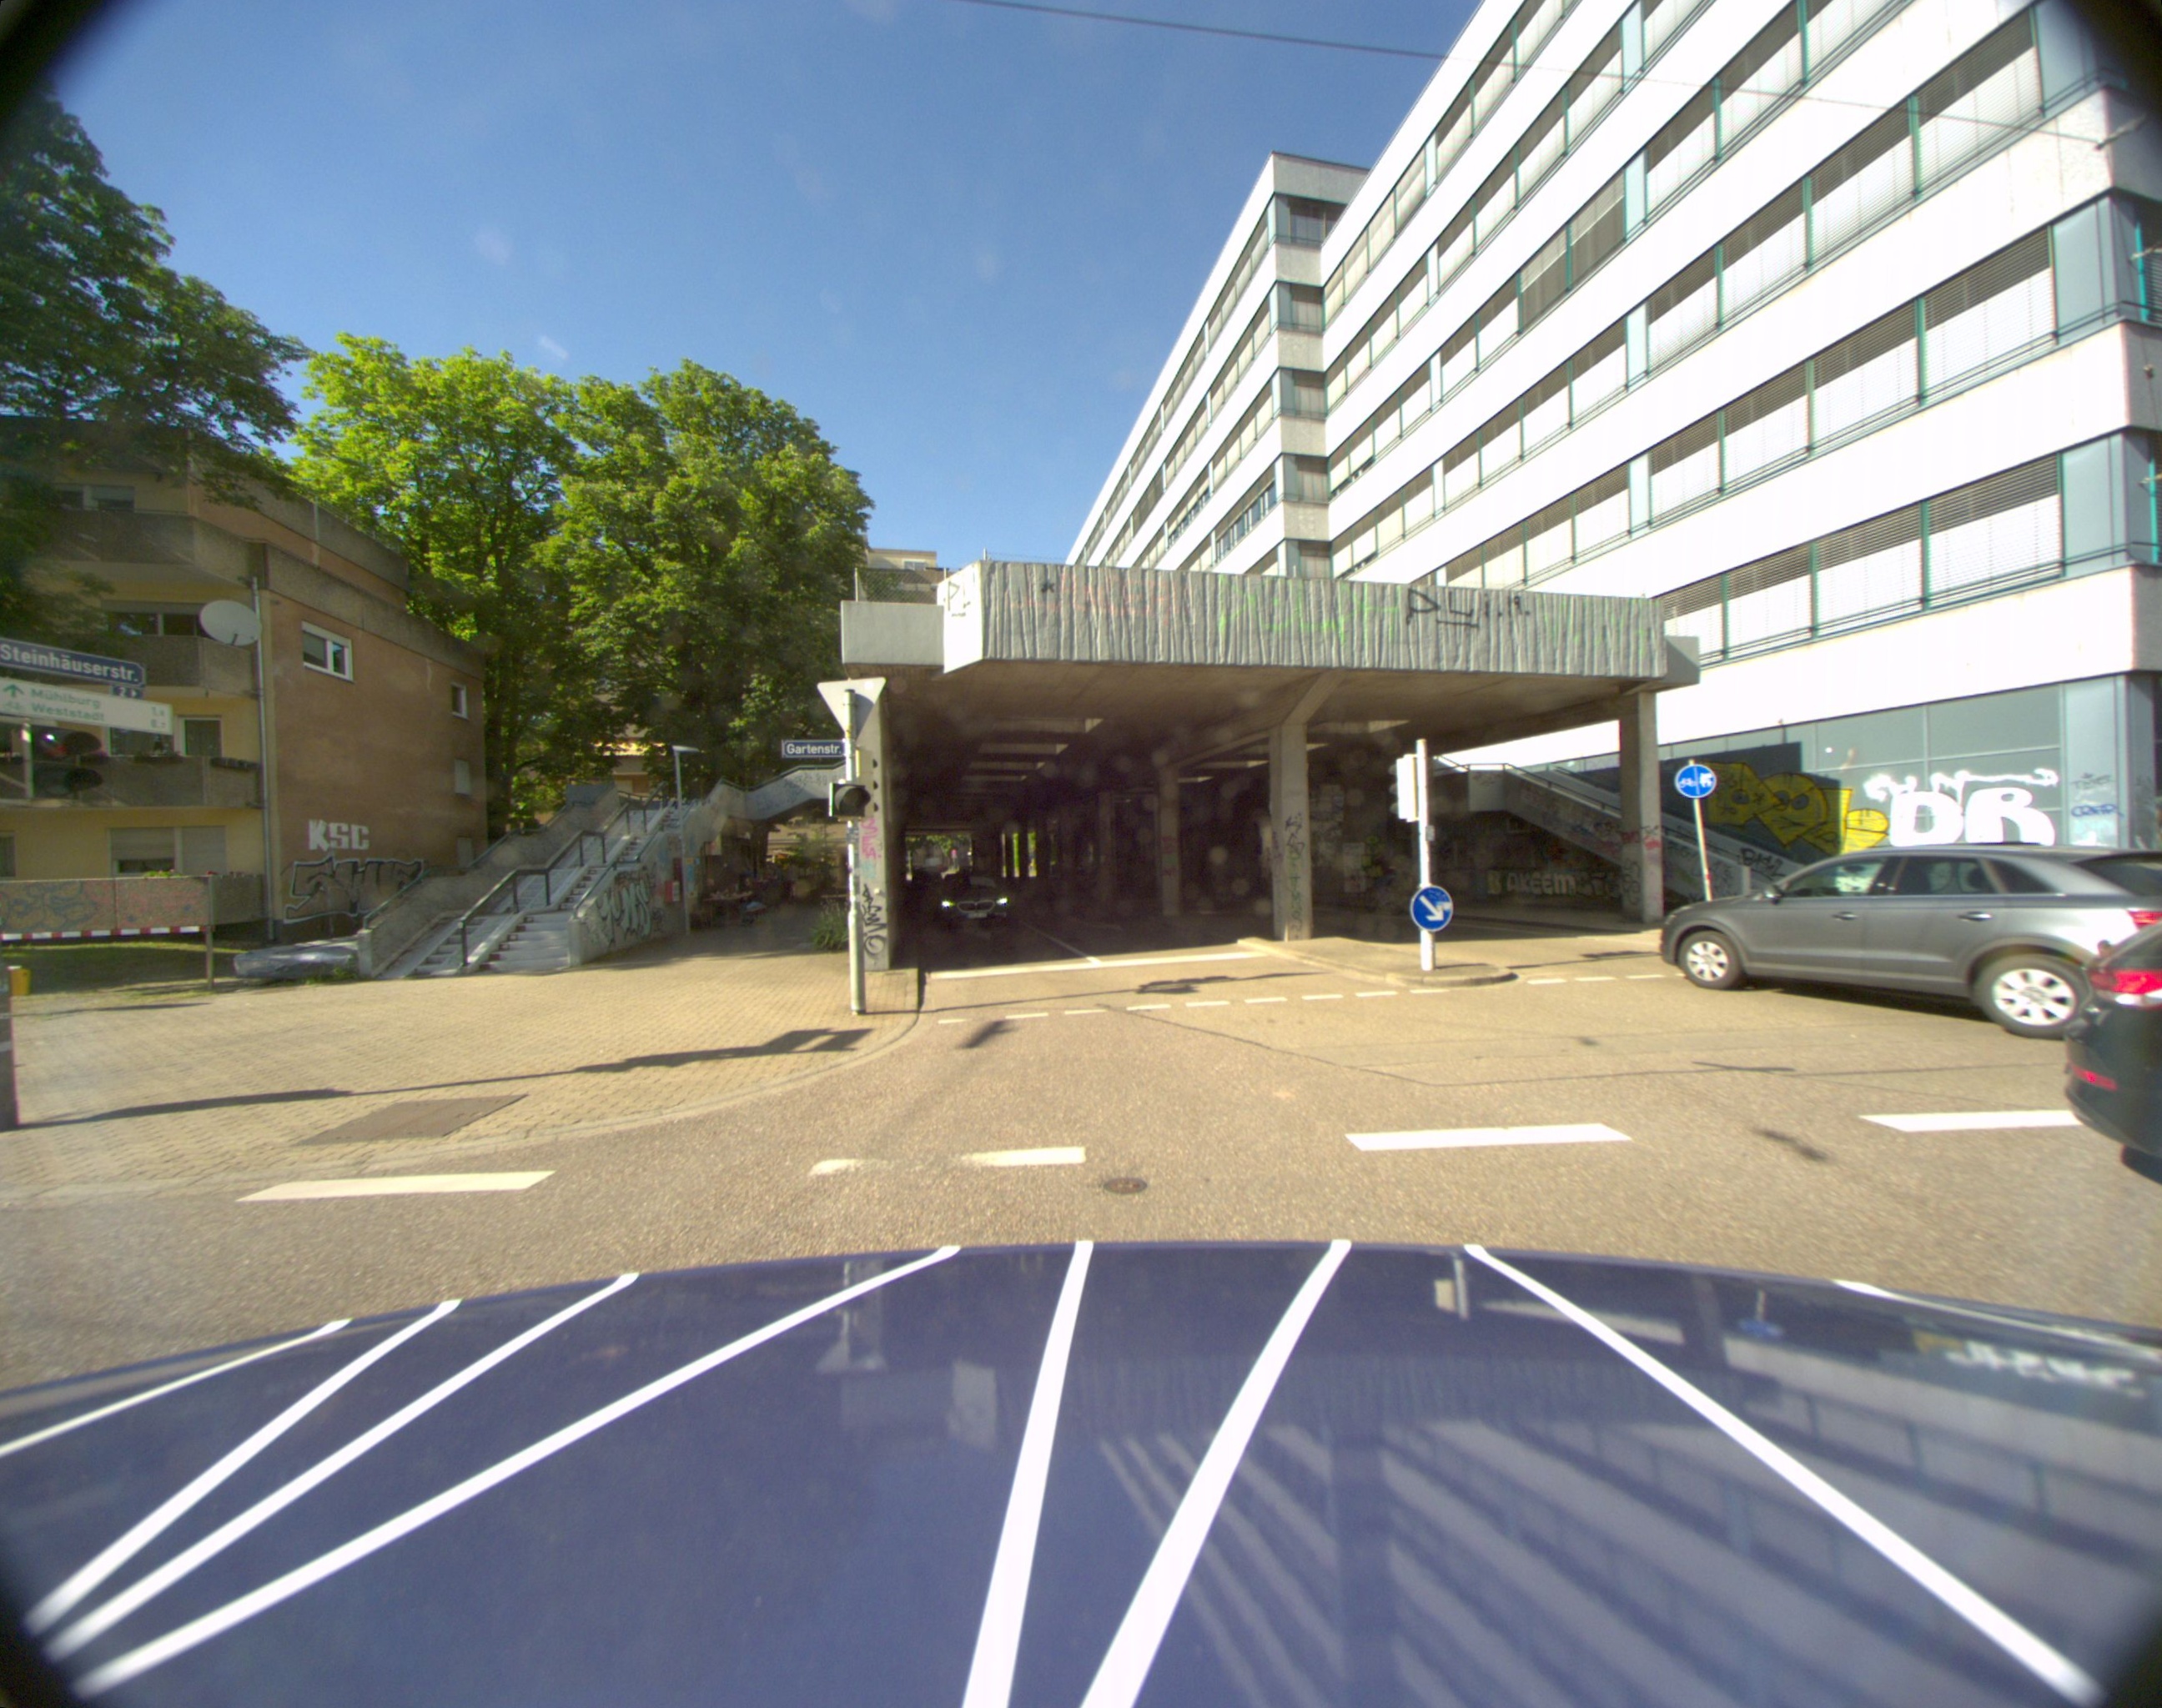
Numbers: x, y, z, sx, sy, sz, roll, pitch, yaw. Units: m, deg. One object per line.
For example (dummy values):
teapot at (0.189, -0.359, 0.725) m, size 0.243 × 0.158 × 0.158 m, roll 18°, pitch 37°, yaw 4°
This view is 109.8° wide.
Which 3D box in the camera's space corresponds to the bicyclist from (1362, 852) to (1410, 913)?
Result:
bicyclist at (8.556, 0.779, 21.339) m, size 0.784 × 1.650 × 1.030 m, roll -2°, pitch 0°, yaw -11°

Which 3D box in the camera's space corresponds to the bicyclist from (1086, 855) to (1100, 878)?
bicyclist at (0.909, 0.964, 58.142) m, size 0.748 × 1.701 × 0.966 m, roll -2°, pitch -2°, yaw -13°

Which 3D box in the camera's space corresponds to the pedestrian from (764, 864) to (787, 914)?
pedestrian at (-10.587, 1.188, 26.336) m, size 0.659 × 1.681 × 0.589 m, roll -2°, pitch 0°, yaw -19°

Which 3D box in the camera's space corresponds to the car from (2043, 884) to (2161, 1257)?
car at (5.973, 0.807, 1.799) m, size 1.810 × 1.442 × 4.317 m, roll 0°, pitch -2°, yaw -29°

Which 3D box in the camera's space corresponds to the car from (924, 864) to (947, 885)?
car at (-11.438, 1.594, 59.680) m, size 1.618 × 1.545 × 4.009 m, roll -2°, pitch 0°, yaw -11°

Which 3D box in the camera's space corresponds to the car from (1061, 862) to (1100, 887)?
car at (-0.081, 1.266, 47.158) m, size 1.663 × 1.432 × 3.459 m, roll -2°, pitch 0°, yaw -13°

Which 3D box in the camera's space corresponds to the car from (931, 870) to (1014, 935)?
car at (-3.280, 1.294, 22.201) m, size 1.959 × 1.546 × 5.035 m, roll -2°, pitch 0°, yaw -13°

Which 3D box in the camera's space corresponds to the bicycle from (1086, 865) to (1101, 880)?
bicycle at (0.934, 1.409, 58.105) m, size 0.700 × 1.083 × 1.859 m, roll -2°, pitch -2°, yaw -13°

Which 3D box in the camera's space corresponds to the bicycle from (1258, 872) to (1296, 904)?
bicycle at (7.119, 1.234, 27.667) m, size 0.527 × 1.084 × 1.858 m, roll -2°, pitch 0°, yaw -12°

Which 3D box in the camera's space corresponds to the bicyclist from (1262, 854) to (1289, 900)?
bicyclist at (7.093, 0.837, 27.735) m, size 0.608 × 1.623 × 0.909 m, roll -2°, pitch 0°, yaw -12°

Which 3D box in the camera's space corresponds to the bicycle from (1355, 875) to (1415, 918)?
bicycle at (8.549, 1.161, 21.477) m, size 0.543 × 1.116 × 2.057 m, roll -2°, pitch 0°, yaw -10°

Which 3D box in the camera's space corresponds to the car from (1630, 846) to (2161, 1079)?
car at (8.122, 0.774, 7.525) m, size 1.891 × 1.600 × 4.144 m, roll -2°, pitch 0°, yaw -11°

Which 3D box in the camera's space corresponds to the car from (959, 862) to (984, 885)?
car at (-8.192, 1.433, 56.731) m, size 1.618 × 1.545 × 4.009 m, roll -2°, pitch 0°, yaw -11°

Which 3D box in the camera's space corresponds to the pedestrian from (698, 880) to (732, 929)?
pedestrian at (-10.166, 1.396, 21.118) m, size 0.741 × 1.291 × 0.612 m, roll -2°, pitch 0°, yaw -19°

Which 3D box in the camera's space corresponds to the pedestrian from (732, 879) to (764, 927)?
pedestrian at (-9.370, 1.368, 21.381) m, size 0.725 × 1.291 × 0.589 m, roll -2°, pitch 0°, yaw -19°

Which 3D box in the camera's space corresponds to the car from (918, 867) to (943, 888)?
car at (-10.616, 1.648, 53.610) m, size 1.618 × 1.367 × 4.195 m, roll -2°, pitch 0°, yaw -11°
